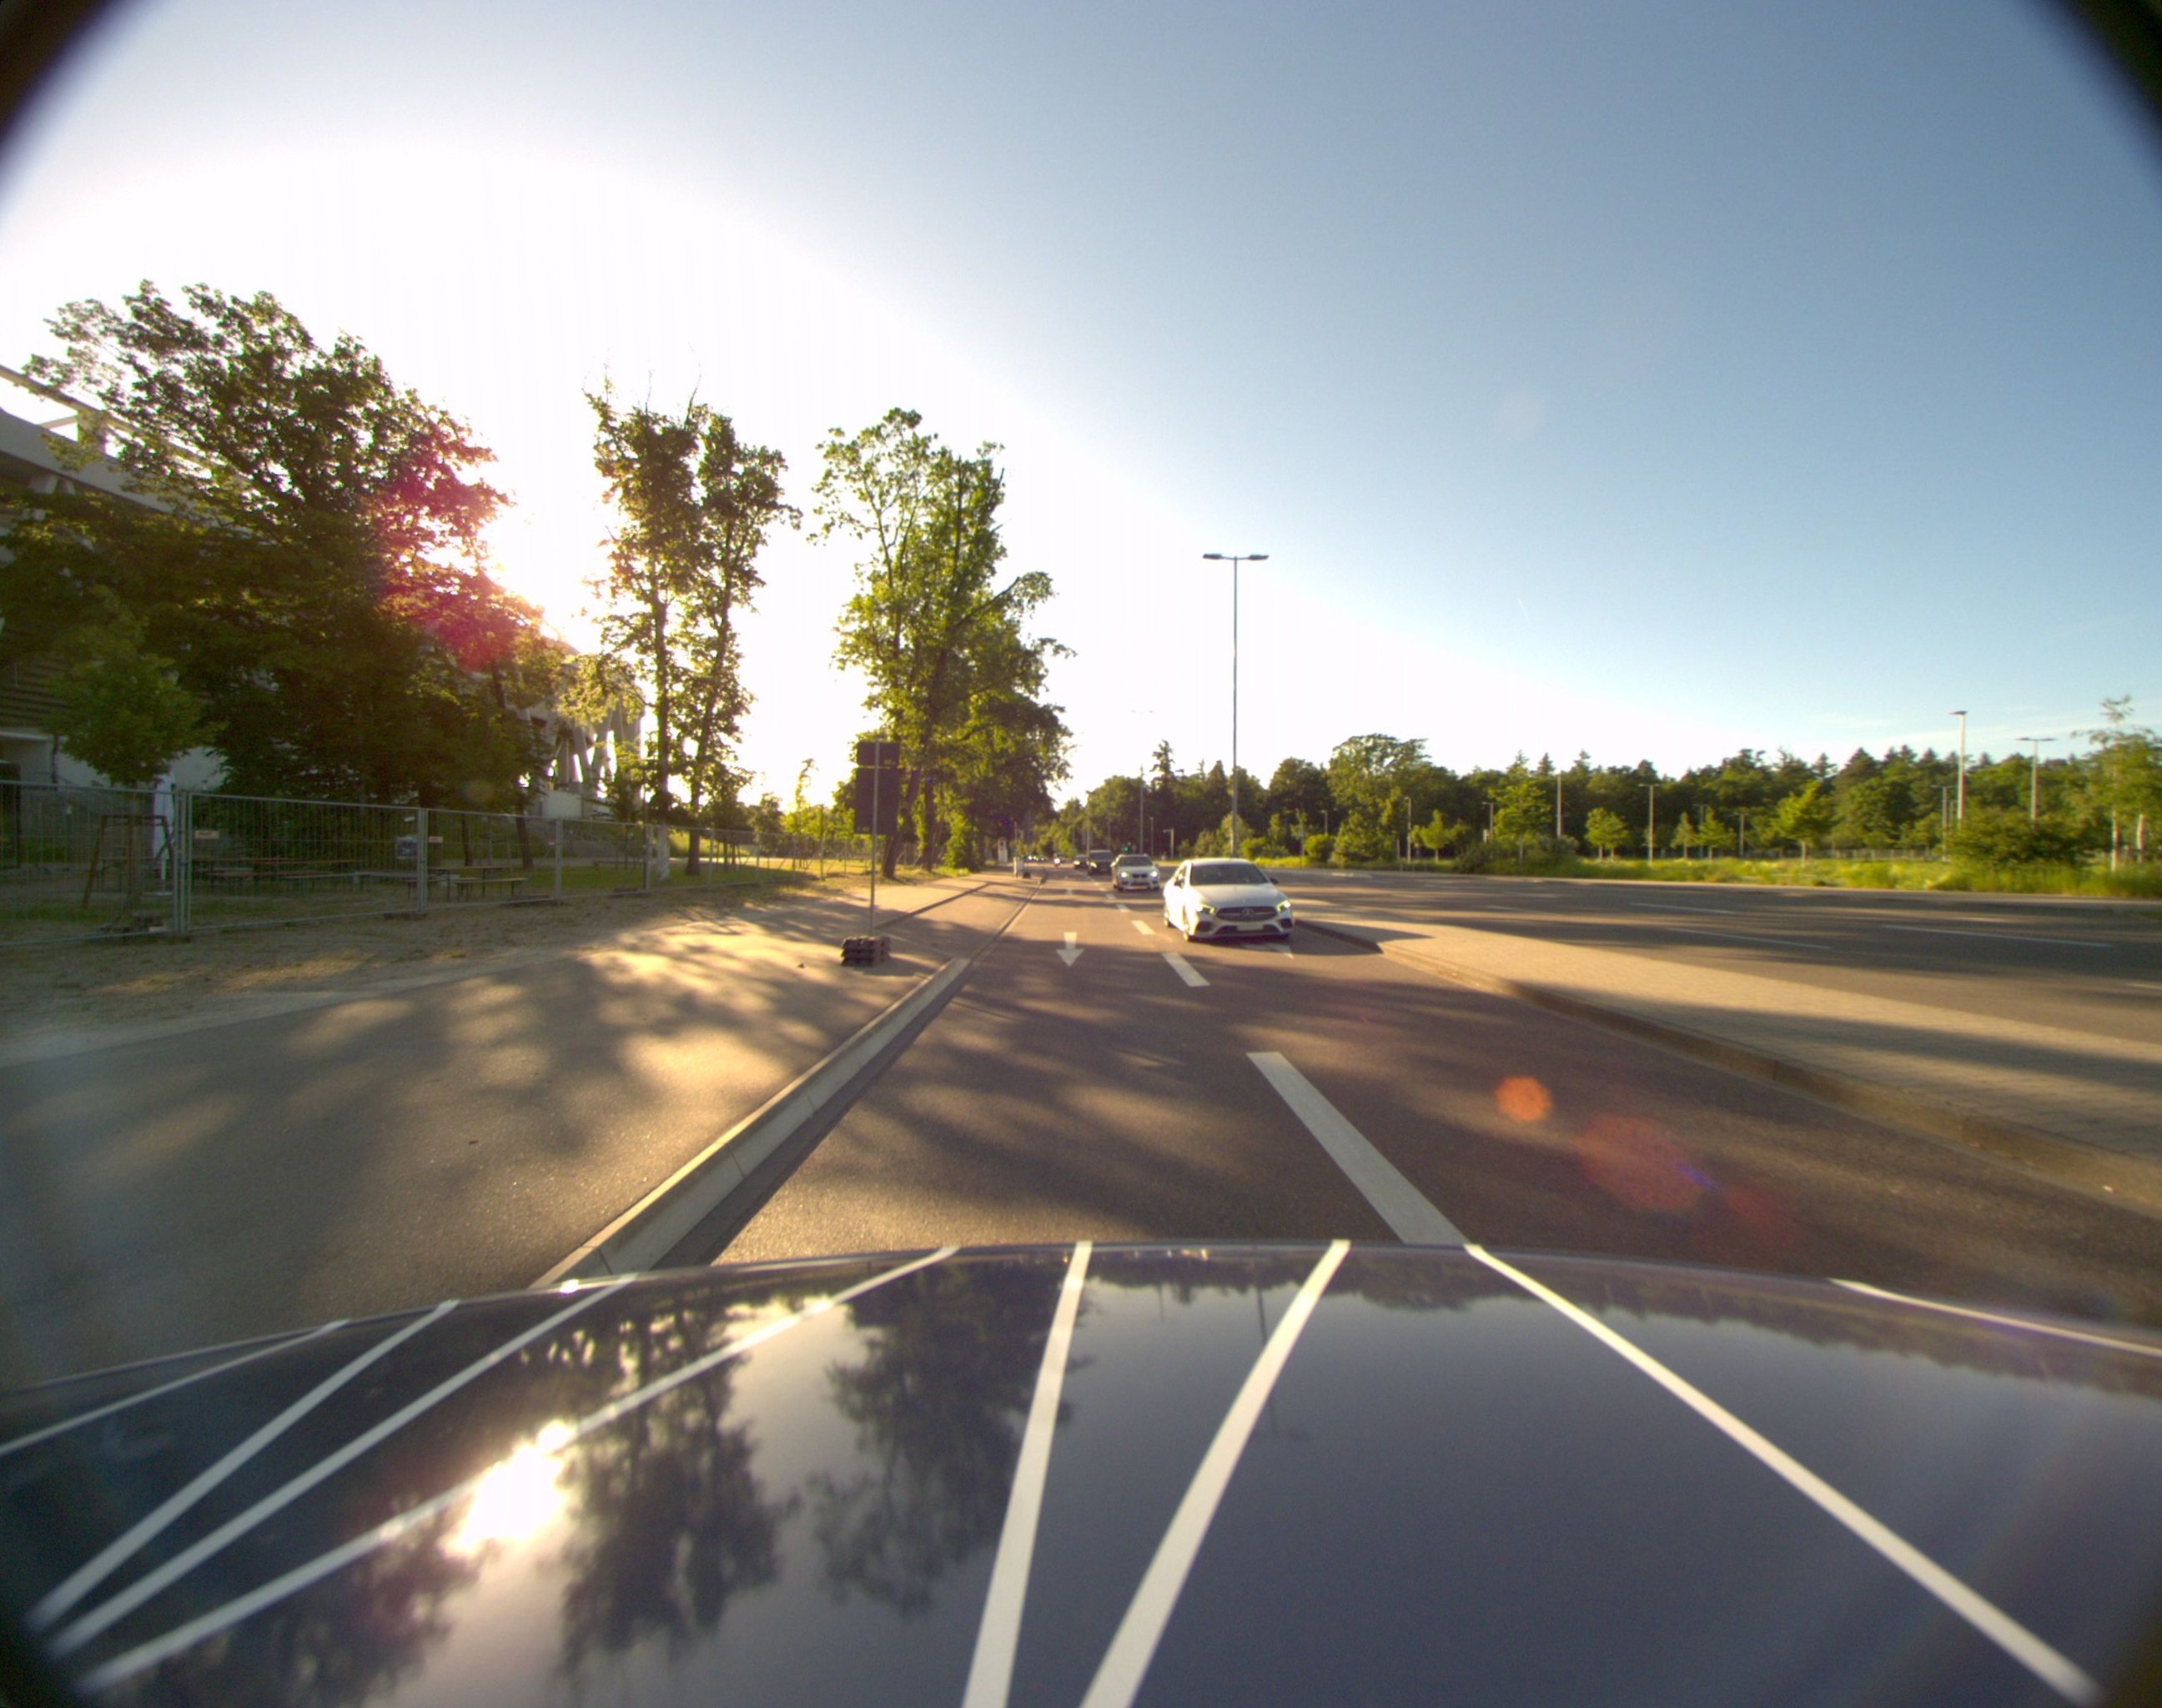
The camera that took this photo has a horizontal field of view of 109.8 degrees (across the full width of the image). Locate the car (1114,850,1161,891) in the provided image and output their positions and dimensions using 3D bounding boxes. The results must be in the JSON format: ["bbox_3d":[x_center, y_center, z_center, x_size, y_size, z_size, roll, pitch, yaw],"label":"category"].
[{"bbox_3d":[2.403,0.680,33.094,1.723,1.571,4.434,-2,0,1],"label":"car"}]

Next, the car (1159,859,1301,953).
[{"bbox_3d":[2.621,0.856,14.382,1.790,1.436,4.278,-2,0,0],"label":"car"}]

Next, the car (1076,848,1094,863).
[{"bbox_3d":[0.459,0.196,83.704,1.883,1.528,3.999,-2,1,0],"label":"car"}]

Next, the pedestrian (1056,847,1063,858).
[{"bbox_3d":[-2.841,-0.231,100.457,0.739,1.387,0.500,-2,1,1],"label":"pedestrian"}]

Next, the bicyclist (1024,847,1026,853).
[{"bbox_3d":[-11.930,-0.868,161.263,0.451,1.412,0.575,0,1,0],"label":"bicyclist"}]

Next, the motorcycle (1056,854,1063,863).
[{"bbox_3d":[-2.808,0.595,100.555,0.717,1.058,2.721,-2,0,1],"label":"motorcycle"}]

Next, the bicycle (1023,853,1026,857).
[{"bbox_3d":[-11.942,0.259,161.216,0.481,0.854,1.910,0,0,1],"label":"bicycle"}]

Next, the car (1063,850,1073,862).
[{"bbox_3d":[-2.367,0.368,139.417,1.883,1.951,5.048,-2,0,0],"label":"car"}]

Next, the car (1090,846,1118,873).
[{"bbox_3d":[1.686,0.437,56.323,1.912,1.844,4.875,-2,-2,1],"label":"car"}]

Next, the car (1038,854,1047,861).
[{"bbox_3d":[-9.600,0.821,190.928,1.883,1.629,5.048,-2,0,0],"label":"car"}]
